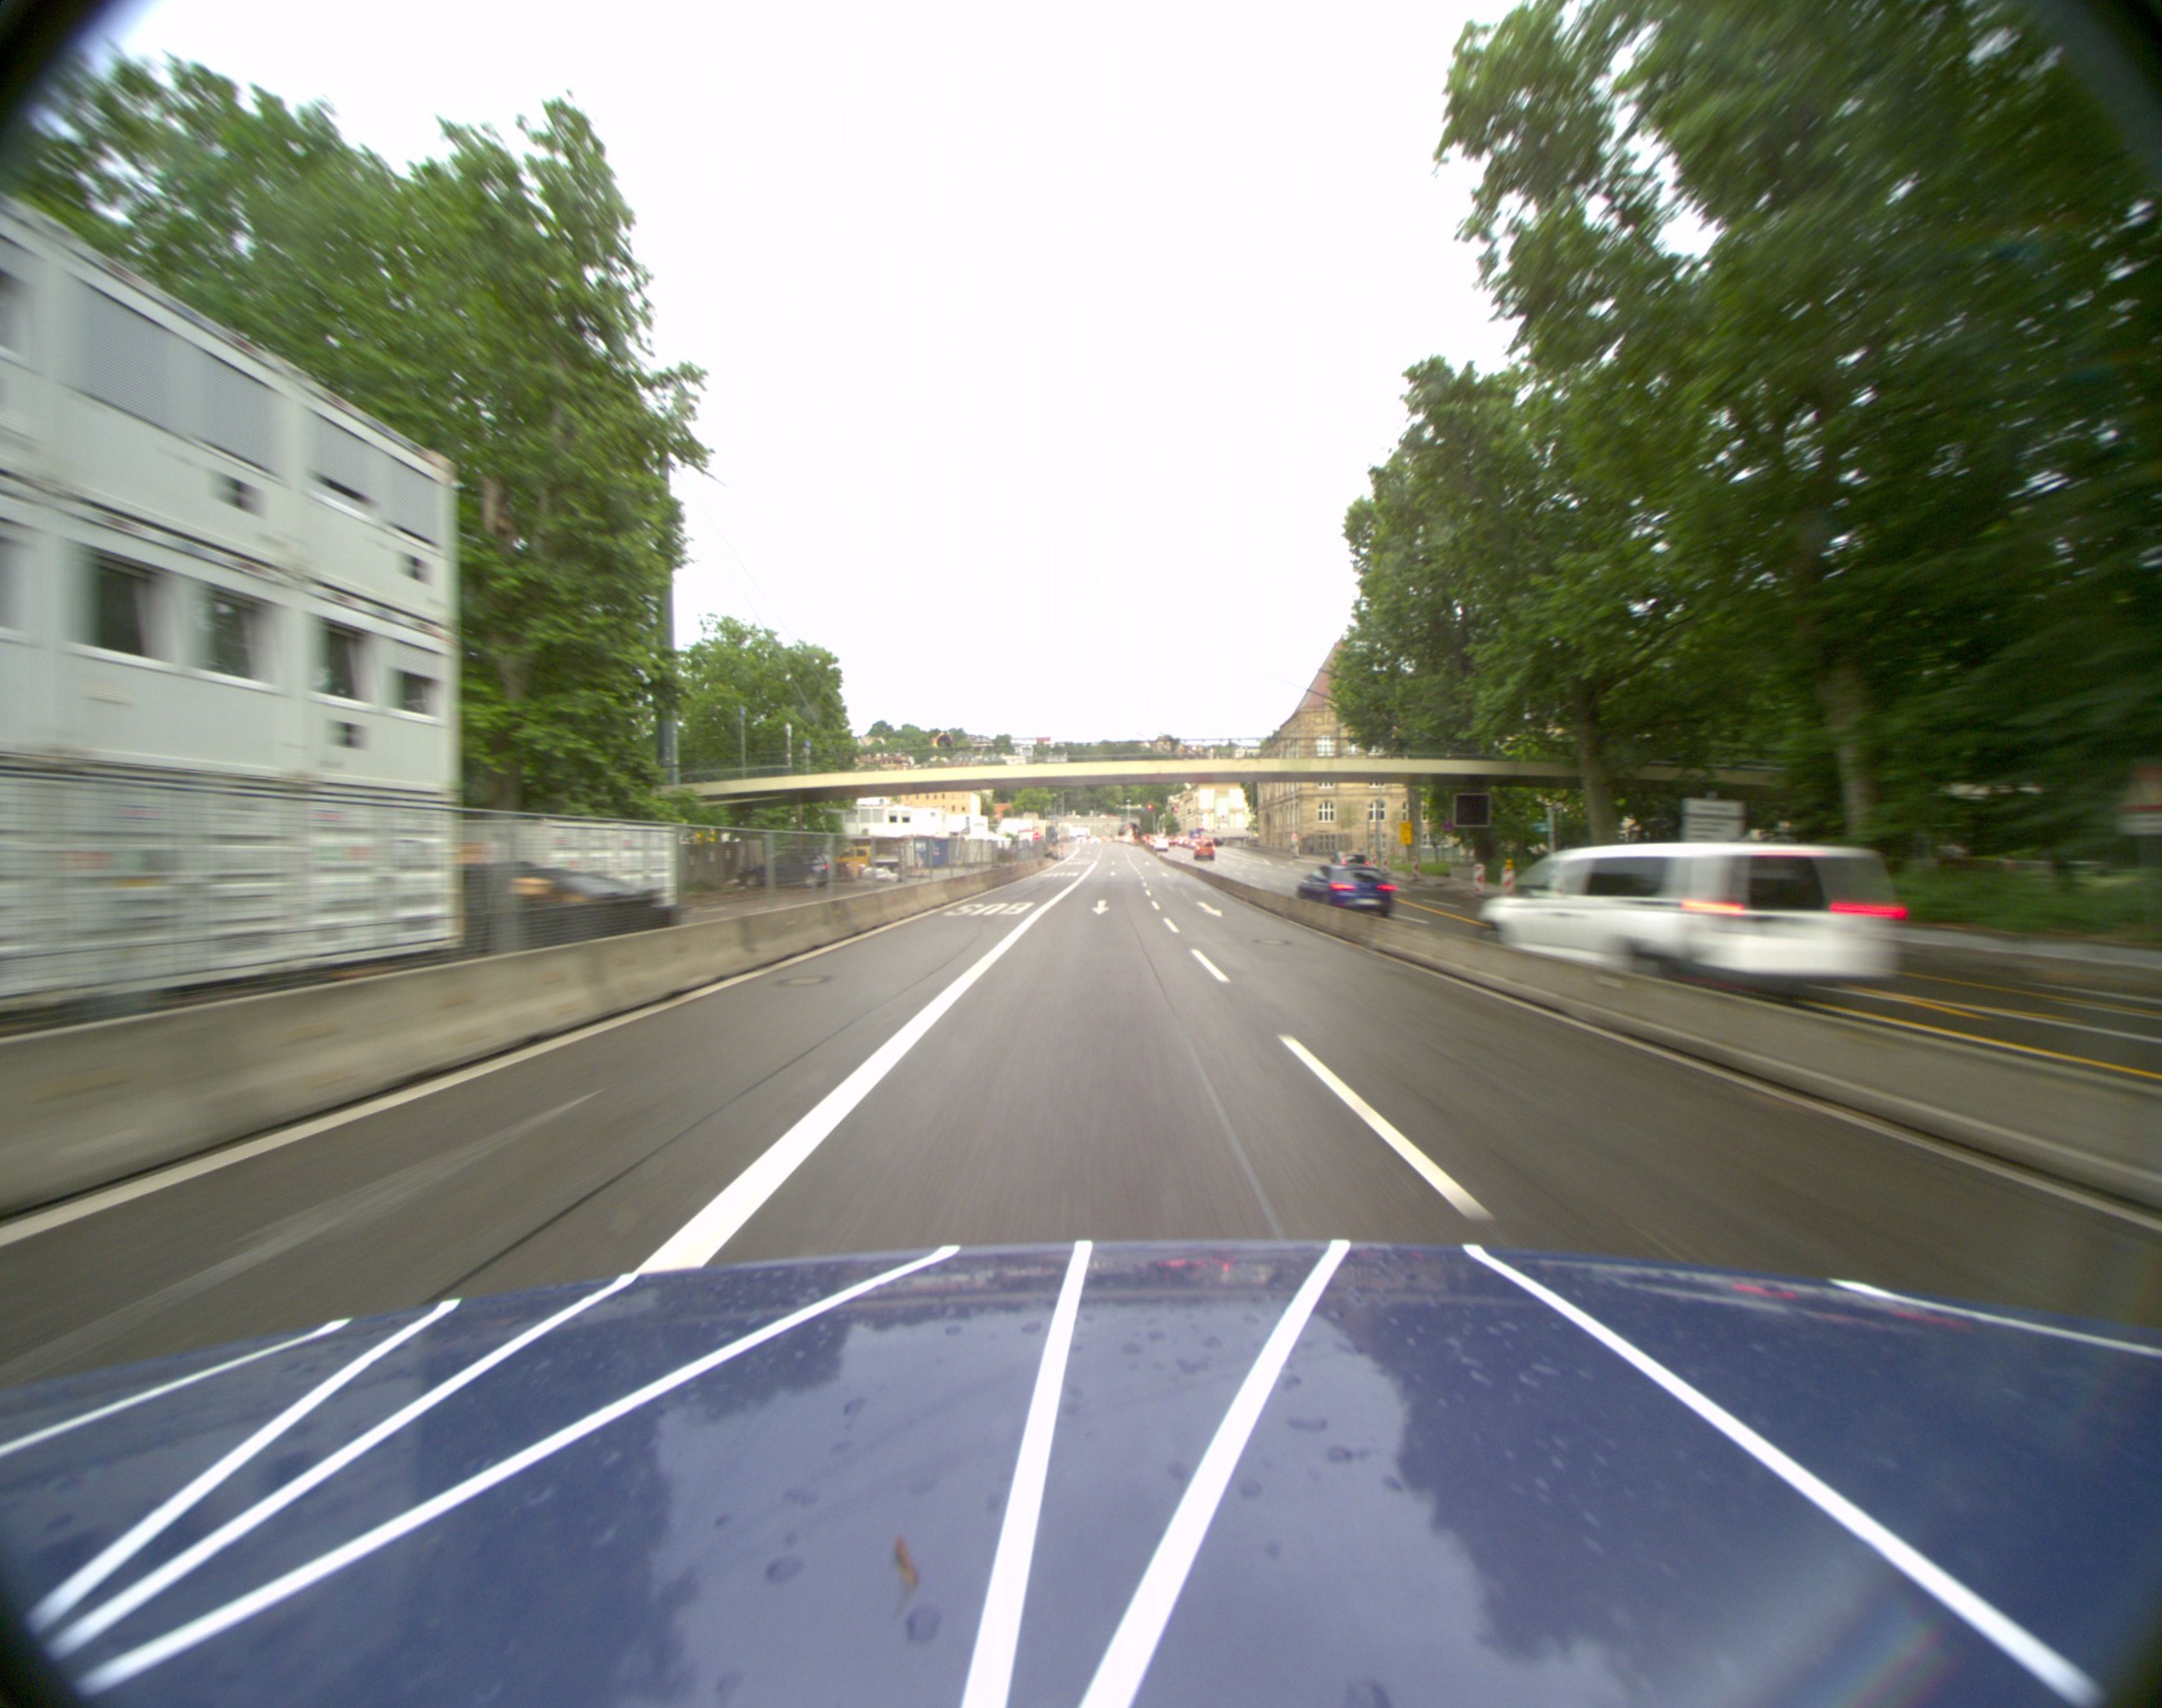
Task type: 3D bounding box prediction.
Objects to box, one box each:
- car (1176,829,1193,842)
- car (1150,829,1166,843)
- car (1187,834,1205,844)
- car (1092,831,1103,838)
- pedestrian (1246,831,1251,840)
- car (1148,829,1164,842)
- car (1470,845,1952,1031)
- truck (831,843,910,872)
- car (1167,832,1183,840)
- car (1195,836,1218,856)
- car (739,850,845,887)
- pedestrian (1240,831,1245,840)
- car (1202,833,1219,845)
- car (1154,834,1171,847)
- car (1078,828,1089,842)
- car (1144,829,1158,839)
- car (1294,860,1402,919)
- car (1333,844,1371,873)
[{"bbox_3d":[17.112,-3.153,125.825,2.000,2.003,3.996,1,3,-6],"label":"car"},{"bbox_3d":[11.555,-2.729,114.438,1.914,1.856,4.376,1,3,0],"label":"car"},{"bbox_3d":[17.808,-2.357,117.640,1.999,1.375,4.208,1,3,-3],"label":"car"},{"bbox_3d":[3.757,-4.492,176.141,2.000,1.562,3.996,1,3,-6],"label":"car"},{"bbox_3d":[29.508,-3.190,133.632,0.618,1.576,0.734,1,3,-5],"label":"pedestrian"},{"bbox_3d":[11.858,-2.920,120.733,1.998,1.856,5.593,1,3,1],"label":"car"},{"bbox_3d":[7.157,0.760,9.589,2.035,1.644,4.911,2,1,2],"label":"car"},{"bbox_3d":[-15.292,0.223,55.555,5.168,2.003,2.407,0,3,-4],"label":"truck"},{"bbox_3d":[16.291,-3.143,131.595,1.999,1.375,4.209,1,3,-2],"label":"car"},{"bbox_3d":[13.438,-0.918,81.695,2.035,1.926,5.043,2,3,5],"label":"car"},{"bbox_3d":[-14.307,0.699,37.858,4.511,1.718,1.999,-1,2,-3],"label":"car"},{"bbox_3d":[28.518,-3.282,134.045,0.618,1.576,0.734,1,3,3],"label":"pedestrian"},{"bbox_3d":[23.473,-2.683,138.026,2.000,2.003,3.996,1,3,-6],"label":"car"},{"bbox_3d":[11.457,-1.935,107.197,1.898,1.559,4.896,1,3,1],"label":"car"},{"bbox_3d":[0.697,-5.828,229.681,2.836,3.992,8.722,1,3,3],"label":"car"},{"bbox_3d":[12.347,-3.593,134.073,1.999,1.559,5.379,1,3,-1],"label":"car"},{"bbox_3d":[7.357,0.913,21.356,1.716,1.331,4.062,3,1,3],"label":"car"},{"bbox_3d":[15.926,0.267,44.709,2.033,1.643,4.325,0,0,19],"label":"car"}]
